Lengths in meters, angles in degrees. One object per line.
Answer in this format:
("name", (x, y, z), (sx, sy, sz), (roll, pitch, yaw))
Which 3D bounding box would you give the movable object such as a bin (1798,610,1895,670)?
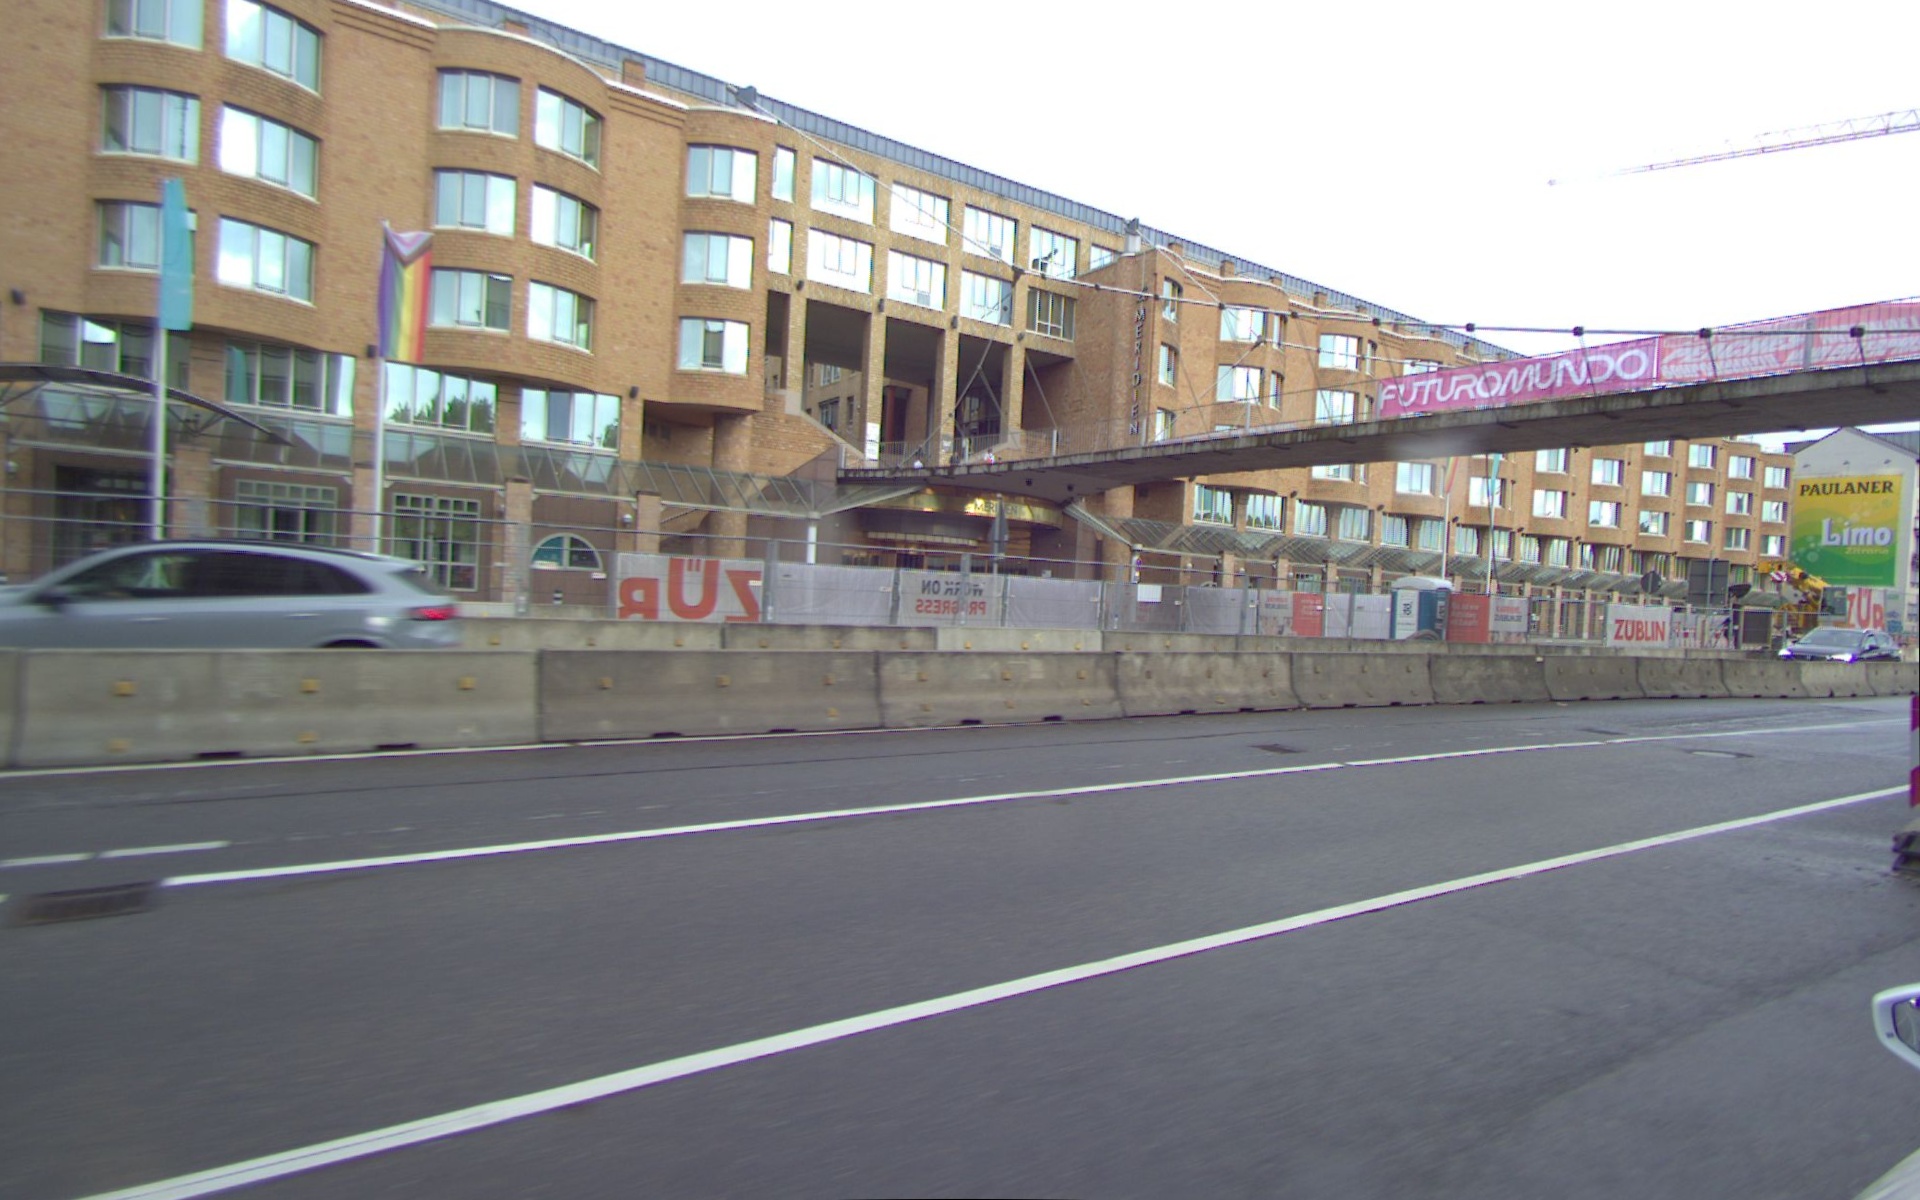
("movable object such as a bin", (36.055, 1.625, 40.825), (4.251, 2.307, 2.013), (2, -3, -35))

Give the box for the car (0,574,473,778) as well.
("car", (-7.243, 0.609, 9.526), (4.644, 1.645, 1.985), (1, 1, -29))

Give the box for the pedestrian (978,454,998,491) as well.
("pedestrian", (1.196, -5.430, 42.761), (0.611, 1.471, 0.618), (1, 0, -29))

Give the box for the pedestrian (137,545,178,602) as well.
("pedestrian", (-21.484, -0.700, 26.900), (0.728, 1.471, 0.613), (1, 0, -30))

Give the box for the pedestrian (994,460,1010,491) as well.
("pedestrian", (1.799, -5.346, 43.166), (0.478, 1.210, 0.473), (1, 0, -29))

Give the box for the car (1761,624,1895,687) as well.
("car", (25.461, 1.567, 29.458), (3.857, 1.645, 1.797), (0, 1, -30))

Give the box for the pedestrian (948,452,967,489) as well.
("pedestrian", (-0.111, -5.635, 43.686), (0.611, 1.471, 0.618), (1, 0, -29))
